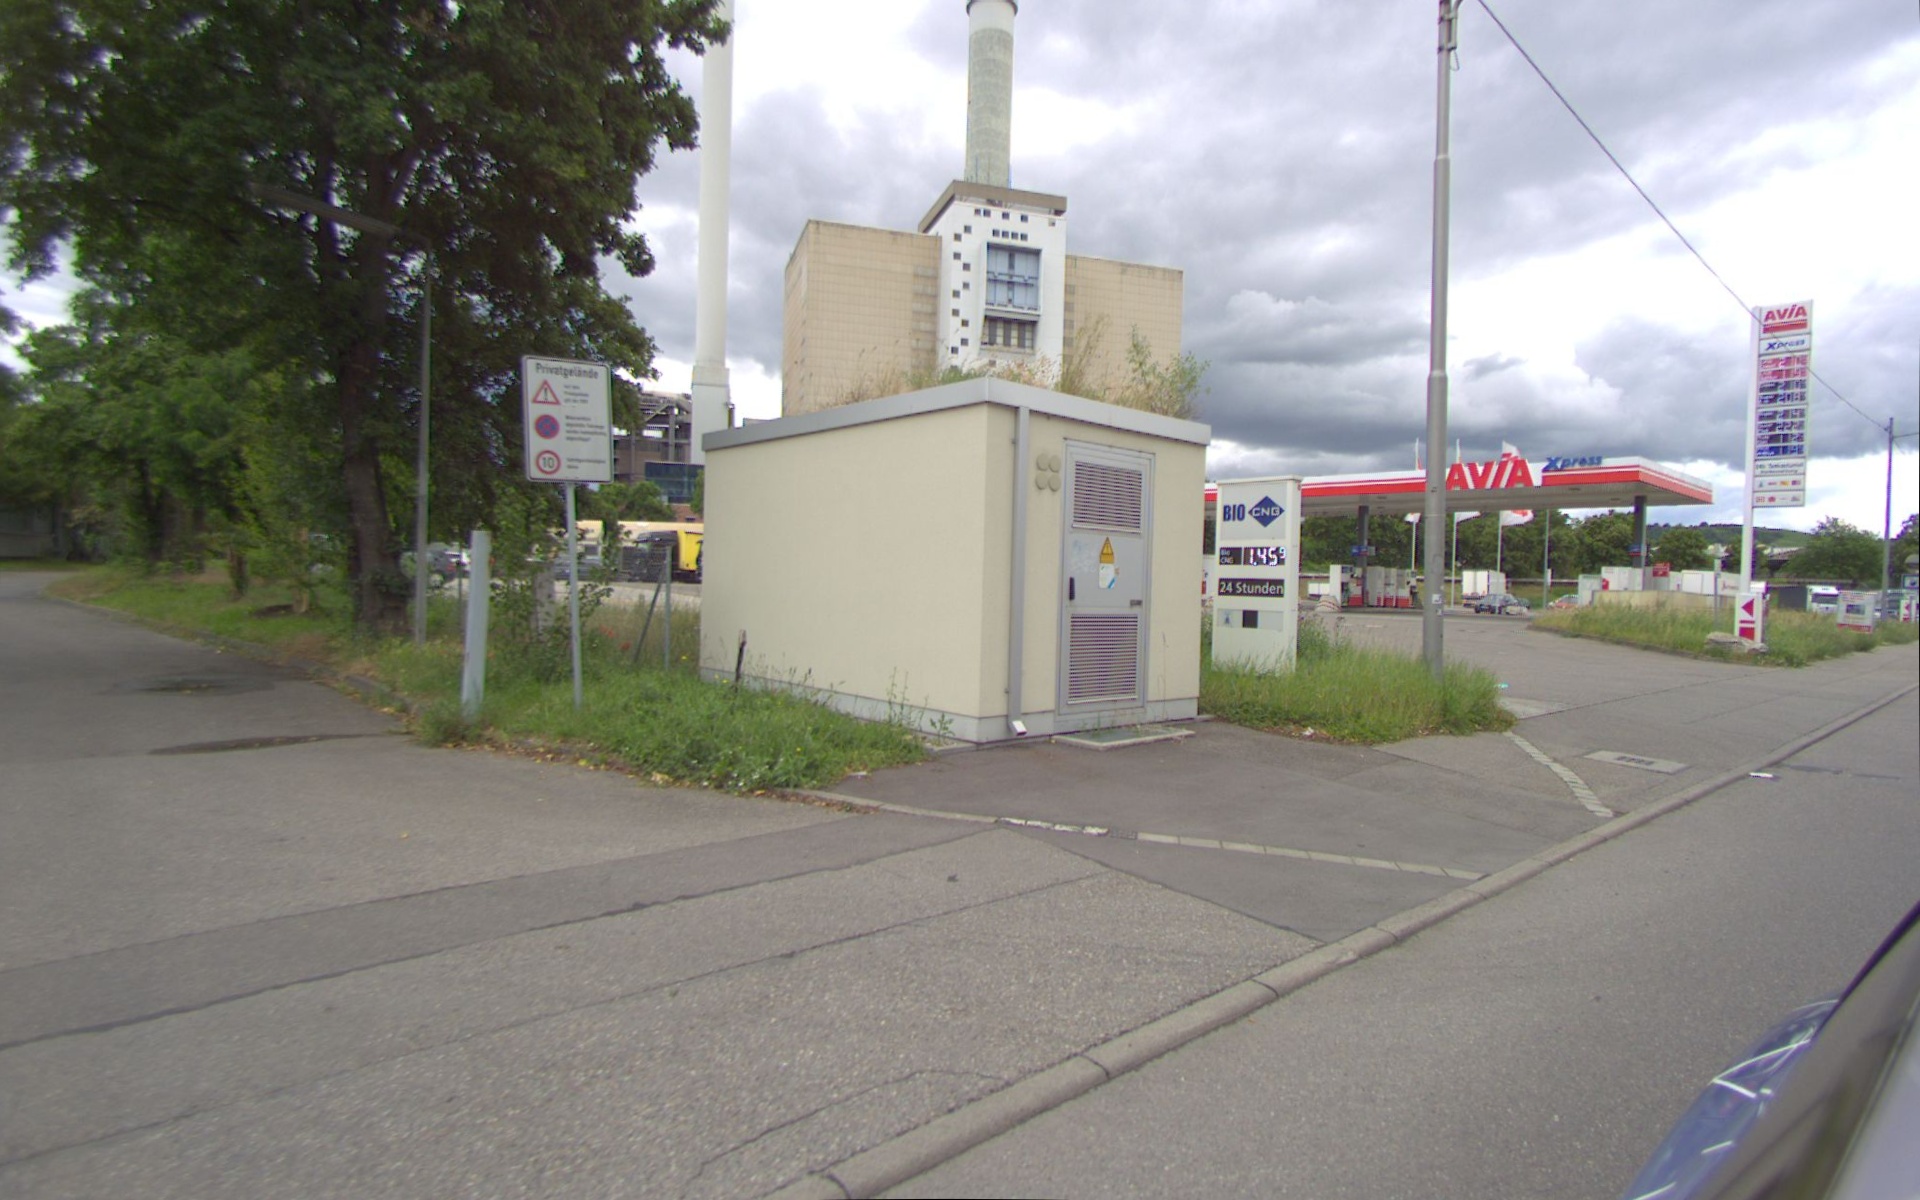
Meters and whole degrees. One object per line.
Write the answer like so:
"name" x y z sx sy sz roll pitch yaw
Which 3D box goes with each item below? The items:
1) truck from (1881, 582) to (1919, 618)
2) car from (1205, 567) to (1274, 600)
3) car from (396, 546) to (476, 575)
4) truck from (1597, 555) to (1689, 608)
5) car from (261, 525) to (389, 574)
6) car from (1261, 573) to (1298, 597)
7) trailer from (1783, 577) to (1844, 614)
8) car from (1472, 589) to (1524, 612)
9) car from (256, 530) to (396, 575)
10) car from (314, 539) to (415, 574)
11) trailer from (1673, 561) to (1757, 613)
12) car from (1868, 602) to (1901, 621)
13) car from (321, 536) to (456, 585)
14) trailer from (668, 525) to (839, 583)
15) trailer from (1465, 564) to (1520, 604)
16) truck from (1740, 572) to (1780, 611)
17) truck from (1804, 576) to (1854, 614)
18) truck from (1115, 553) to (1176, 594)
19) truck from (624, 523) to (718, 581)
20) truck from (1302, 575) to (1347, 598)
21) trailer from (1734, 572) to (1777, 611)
"truck" 110.331 -0.011 118.197 2.855 4.063 6.675 3 2 33
"car" 18.115 -1.046 65.496 4.865 1.936 1.987 1 1 -42
"car" -33.490 -2.513 64.760 4.313 1.671 1.906 1 2 -20
"truck" 57.363 -1.460 84.749 12.841 4.015 3.081 1 3 -42
"car" -30.224 -2.369 48.375 4.799 2.129 2.107 1 2 -20
"car" 39.483 -1.881 125.223 2.064 2.872 5.097 2 1 -10
"trailer" 103.303 -0.589 122.738 2.815 4.145 13.263 3 2 28
"car" 36.813 0.047 69.177 4.143 1.408 1.768 0 3 -42
"car" -25.662 -1.897 41.051 4.574 1.666 1.965 0 2 -42
"car" -31.539 -2.278 53.759 4.305 1.671 1.913 1 2 -20
"trailer" 63.098 -1.012 84.494 10.216 4.015 2.966 1 3 -39
"car" 82.671 1.023 90.489 3.931 1.591 1.767 1 -1 -42
"car" -19.808 -1.365 35.140 3.816 1.549 1.736 0 2 -41
"trailer" -15.680 -3.415 78.403 13.456 3.963 2.694 0 2 -43
"trailer" 57.309 -1.651 108.692 3.619 3.959 13.566 2 1 35
"truck" 89.029 -0.951 112.711 2.856 4.145 6.672 3 2 35
"truck" 99.910 -0.586 116.413 2.850 4.145 6.688 3 2 29
"truck" 20.205 -2.917 110.579 3.633 4.171 7.273 2 1 -15
"truck" -20.980 -3.459 73.509 5.938 3.963 2.694 0 2 -43
"truck" 46.464 -1.769 129.272 2.233 2.521 5.974 2 3 -15
"trailer" 92.421 -0.945 117.735 2.822 4.145 13.230 3 2 34
